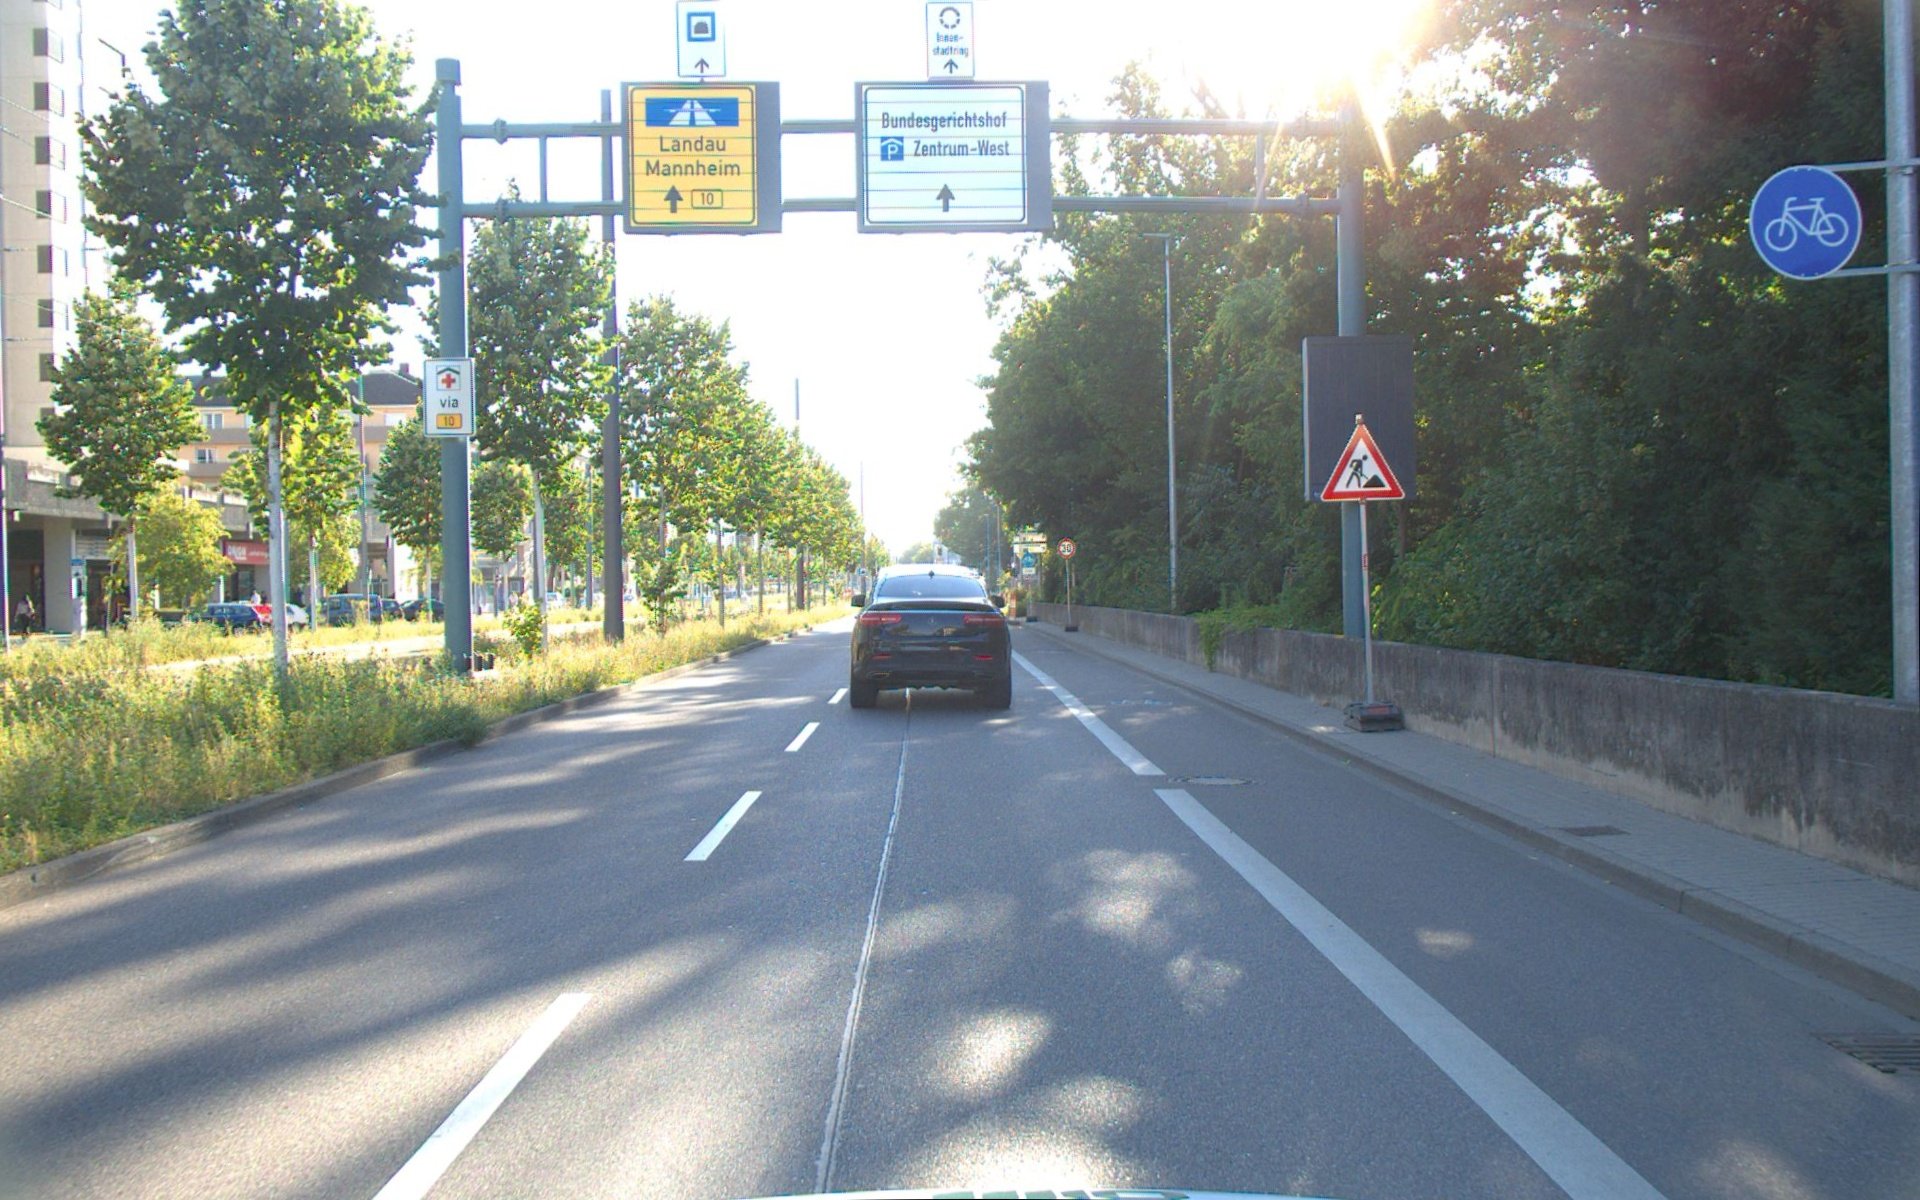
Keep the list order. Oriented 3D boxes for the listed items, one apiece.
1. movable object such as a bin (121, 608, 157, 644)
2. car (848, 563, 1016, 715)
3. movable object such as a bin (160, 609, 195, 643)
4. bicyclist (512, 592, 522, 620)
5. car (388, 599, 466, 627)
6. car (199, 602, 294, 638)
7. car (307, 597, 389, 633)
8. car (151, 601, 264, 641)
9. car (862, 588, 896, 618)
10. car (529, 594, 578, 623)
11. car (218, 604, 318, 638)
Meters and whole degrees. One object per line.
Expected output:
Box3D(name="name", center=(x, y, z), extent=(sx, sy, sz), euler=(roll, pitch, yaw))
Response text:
Box3D(name="movable object such as a bin", center=(-32.287, 1.032, 65.061), extent=(0.839, 1.381, 0.940), euler=(-1, 0, 13))
Box3D(name="car", center=(-0.379, 0.433, 21.298), extent=(1.953, 1.765, 3.999), euler=(0, 1, -2))
Box3D(name="movable object such as a bin", center=(-30.933, 1.033, 65.413), extent=(0.839, 1.303, 0.940), euler=(-1, 0, 13))
Box3D(name="bicyclist", center=(-29.775, 0.400, 111.204), extent=(0.529, 1.819, 0.857), euler=(0, 0, -4))
Box3D(name="car", center=(-31.389, 0.760, 97.494), extent=(3.968, 1.590, 1.969), euler=(0, 1, -43))
Box3D(name="car", center=(-31.983, 0.899, 74.200), extent=(3.595, 1.550, 1.596), euler=(1, 0, -42))
Box3D(name="car", center=(-32.294, 0.767, 87.330), extent=(3.725, 1.861, 1.797), euler=(0, 0, -41))
Box3D(name="car", center=(-32.026, 0.907, 70.422), extent=(4.061, 1.629, 1.723), euler=(1, 0, -42))
Box3D(name="car", center=(-4.548, 0.172, 93.485), extent=(1.848, 1.608, 3.999), euler=(0, 1, -2))
Box3D(name="car", center=(-25.881, 0.517, 105.459), extent=(1.847, 1.718, 5.089), euler=(0, 1, 1))
Box3D(name="car", center=(-32.212, 0.945, 77.049), extent=(1.754, 1.478, 3.978), euler=(0, 1, 41))
